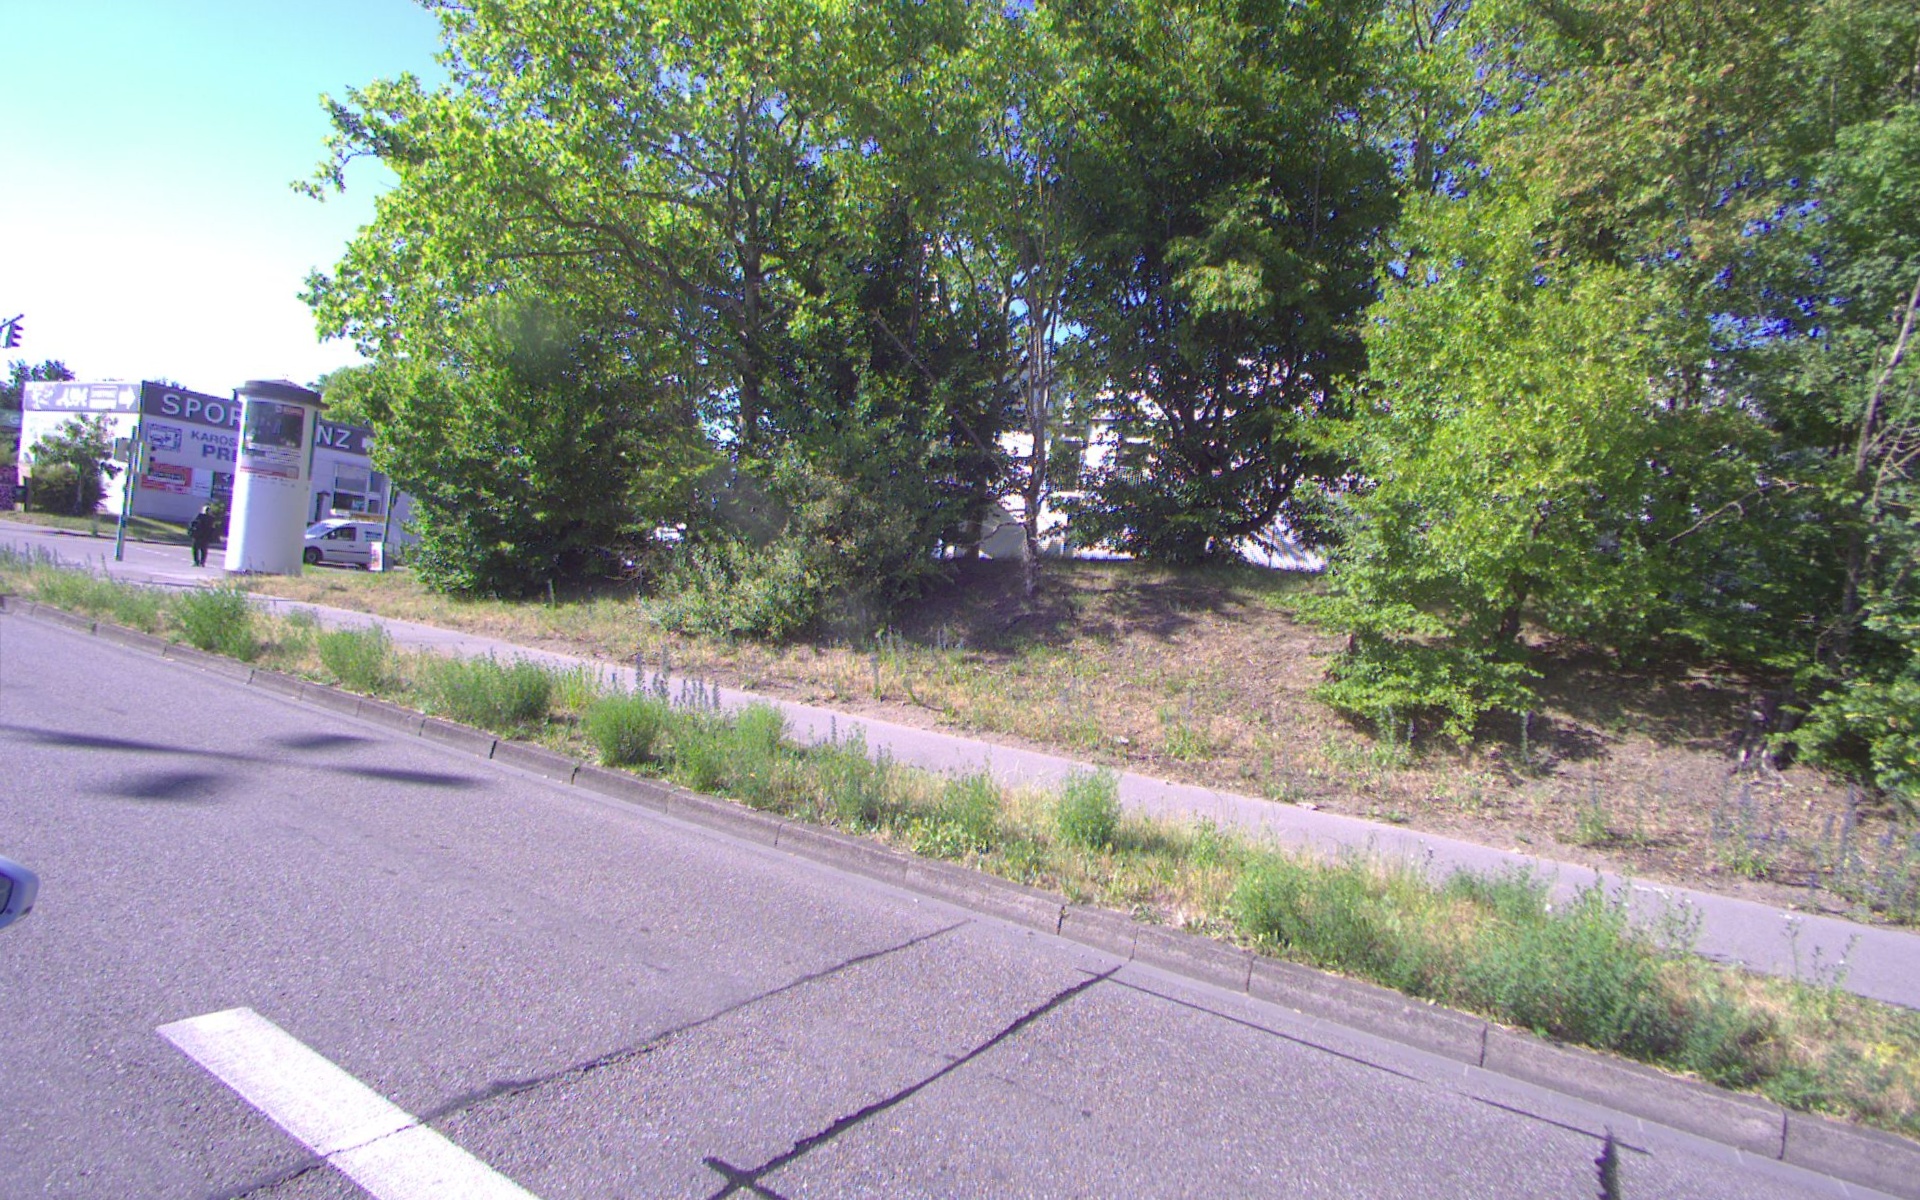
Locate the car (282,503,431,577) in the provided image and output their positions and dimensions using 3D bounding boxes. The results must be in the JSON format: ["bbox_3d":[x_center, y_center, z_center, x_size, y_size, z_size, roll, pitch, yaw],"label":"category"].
[{"bbox_3d":[-23.380,-2.285,39.166,1.965,2.171,4.415,7,-1,28],"label":"car"}]

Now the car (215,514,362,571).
[{"bbox_3d":[-26.822,-2.280,40.338,1.965,1.571,4.415,7,-1,28],"label":"car"}]

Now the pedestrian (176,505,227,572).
[{"bbox_3d":[-21.227,-1.720,28.152,0.841,1.743,0.822,7,0,39],"label":"pedestrian"}]

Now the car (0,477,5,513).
[{"bbox_3d":[-48.280,-5.342,47.675,1.663,1.726,4.003,7,-1,16],"label":"car"}]
